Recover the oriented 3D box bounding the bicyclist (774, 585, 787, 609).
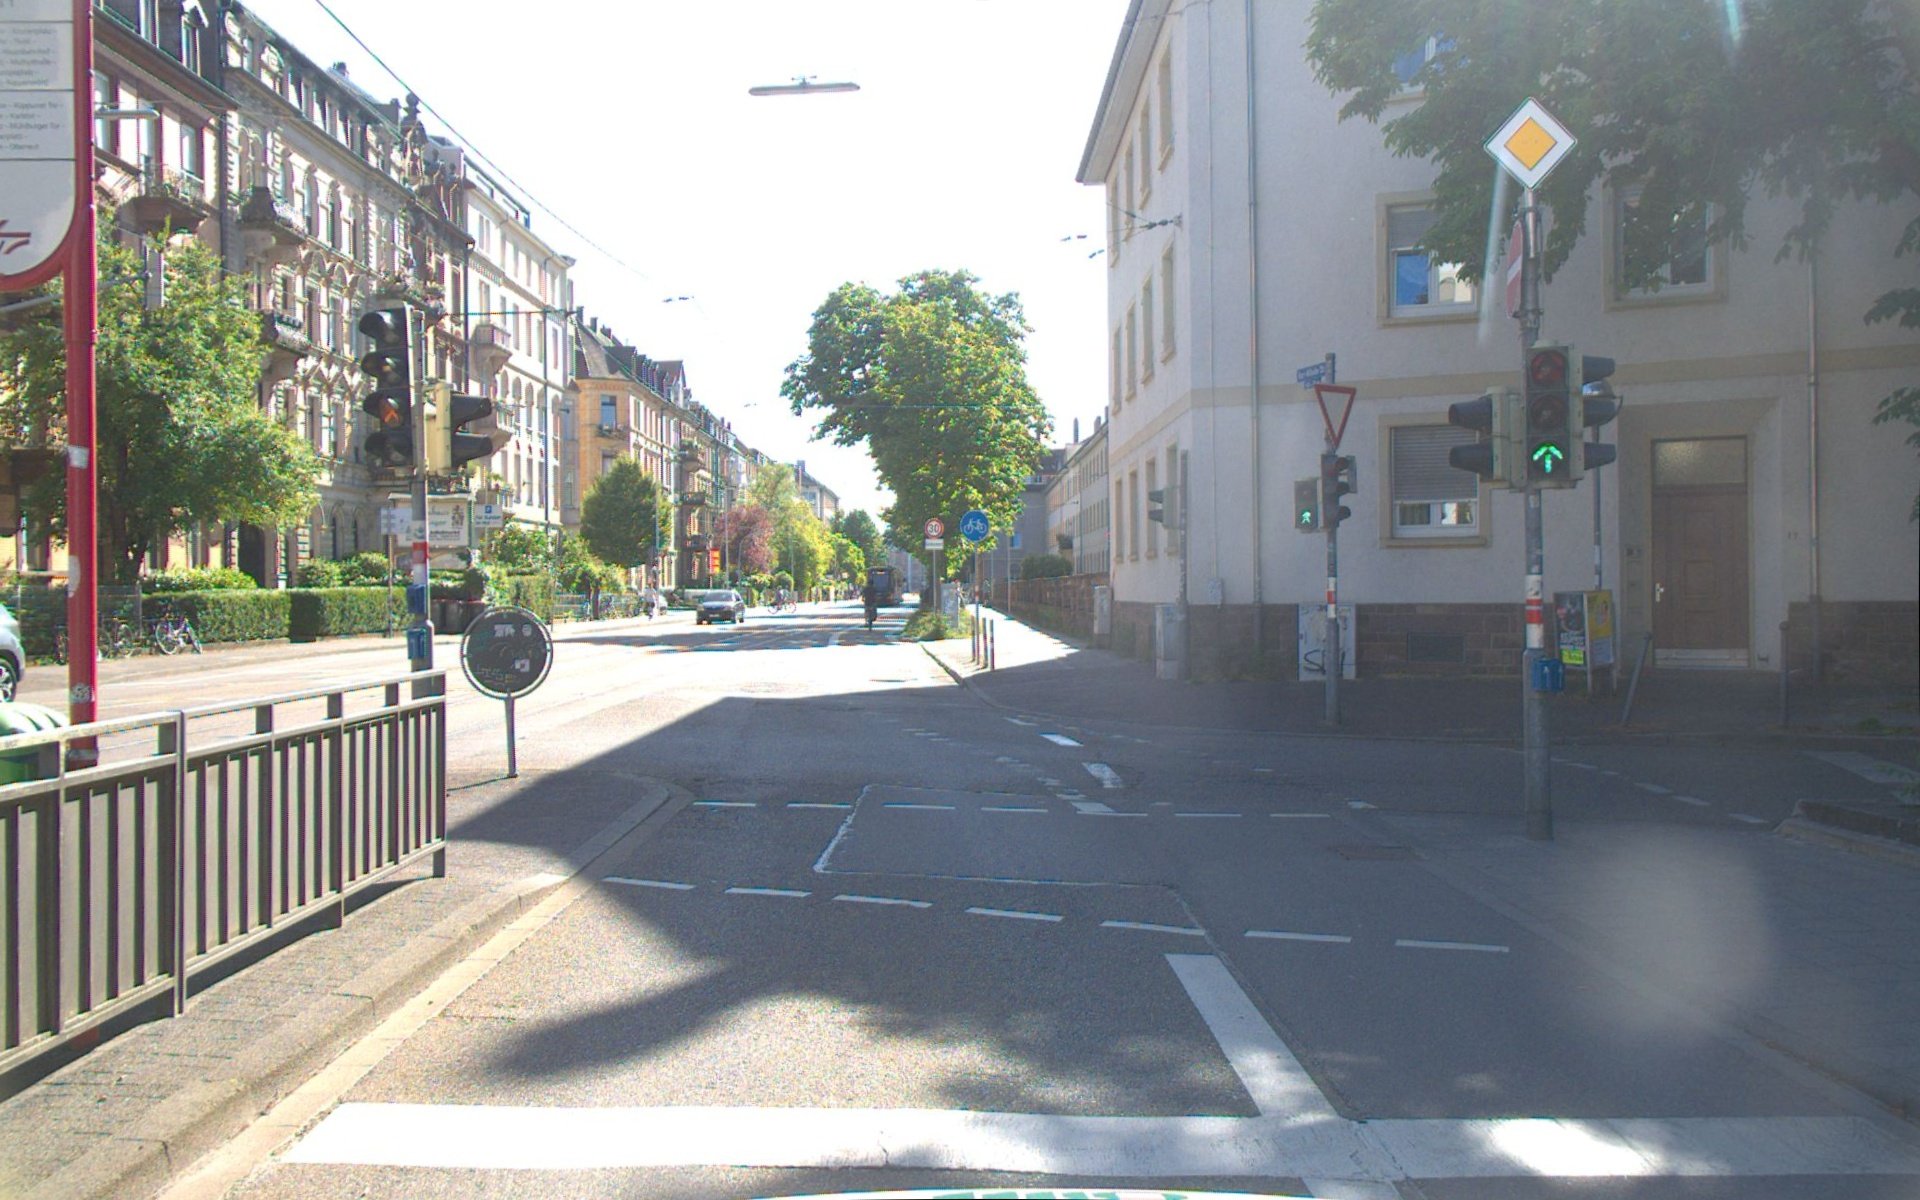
[{"bbox_3d":[-11.201,-0.188,103.120,0.605,1.494,0.633,1,0,-22],"label":"bicyclist"}]

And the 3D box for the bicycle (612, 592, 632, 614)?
[{"bbox_3d":[-16.812,0.145,82.280,0.556,1.051,1.754,4,0,-25],"label":"bicycle"}]

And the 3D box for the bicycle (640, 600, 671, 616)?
[{"bbox_3d":[-18.101,0.504,98.391,1.769,0.930,0.613,1,-2,-37],"label":"bicycle"}]

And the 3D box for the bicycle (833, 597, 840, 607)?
[{"bbox_3d":[-14.229,0.265,190.786,0.677,1.132,1.718,-2,0,0],"label":"bicycle"}]

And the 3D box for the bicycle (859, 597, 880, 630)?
[{"bbox_3d":[-3.215,0.479,58.868,0.677,1.132,1.718,1,0,0],"label":"bicycle"}]

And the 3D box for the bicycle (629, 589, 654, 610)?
[{"bbox_3d":[-16.259,-0.029,84.390,0.559,1.051,1.745,0,2,-37],"label":"bicycle"}]

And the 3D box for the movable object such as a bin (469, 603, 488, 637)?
[{"bbox_3d":[-16.172,0.663,55.553,0.469,1.105,0.541,1,0,1],"label":"movable object such as a bin"}]

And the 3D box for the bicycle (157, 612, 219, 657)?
[{"bbox_3d":[-17.211,0.764,36.919,0.334,0.942,1.944,1,0,4],"label":"bicycle"}]

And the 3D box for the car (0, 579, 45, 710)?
[{"bbox_3d":[-12.948,0.595,19.569,1.859,1.646,4.264,-2,0,-1],"label":"car"}]

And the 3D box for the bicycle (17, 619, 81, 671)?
[{"bbox_3d":[-17.618,0.856,32.000,0.334,0.942,1.453,1,0,4],"label":"bicycle"}]

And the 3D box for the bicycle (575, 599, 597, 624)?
[{"bbox_3d":[-16.514,0.489,72.997,0.551,1.051,1.768,1,1,0],"label":"bicycle"}]

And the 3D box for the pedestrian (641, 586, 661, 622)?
[{"bbox_3d":[-15.305,0.209,81.986,0.812,1.754,1.082,1,-1,-2],"label":"pedestrian"}]

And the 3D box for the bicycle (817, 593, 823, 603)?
[{"bbox_3d":[-13.912,-0.168,164.453,0.451,0.942,2.202,-2,0,0],"label":"bicycle"}]

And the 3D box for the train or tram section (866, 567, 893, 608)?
[{"bbox_3d":[-7.151,-1.117,147.671,2.110,3.491,6.610,1,0,-1],"label":"train or tram section"}]

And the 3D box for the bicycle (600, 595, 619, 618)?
[{"bbox_3d":[-16.345,0.310,77.139,0.551,1.051,1.767,1,1,-1],"label":"bicycle"}]

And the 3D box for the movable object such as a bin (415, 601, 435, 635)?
[{"bbox_3d":[-17.737,0.580,54.809,0.469,1.105,0.541,1,0,1],"label":"movable object such as a bin"}]

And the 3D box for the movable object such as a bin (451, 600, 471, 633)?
[{"bbox_3d":[-16.793,0.563,55.662,0.469,1.105,0.541,1,0,1],"label":"movable object such as a bin"}]

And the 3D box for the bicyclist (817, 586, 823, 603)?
[{"bbox_3d":[-13.926,-0.534,164.401,0.455,1.647,0.744,-3,0,-1],"label":"bicyclist"}]

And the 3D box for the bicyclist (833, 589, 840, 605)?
[{"bbox_3d":[-14.220,-0.314,190.659,0.647,1.833,0.616,-2,0,-1],"label":"bicyclist"}]

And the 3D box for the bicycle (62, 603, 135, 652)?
[{"bbox_3d":[-17.639,0.550,33.905,0.334,0.942,1.944,1,0,4],"label":"bicycle"}]

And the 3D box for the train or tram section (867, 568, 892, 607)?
[{"bbox_3d":[-7.473,-1.170,154.321,2.110,3.491,6.610,1,0,-1],"label":"train or tram section"}]

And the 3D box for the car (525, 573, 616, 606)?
[{"bbox_3d":[-20.989,-0.566,89.199,4.353,1.672,1.967,1,0,2],"label":"car"}]

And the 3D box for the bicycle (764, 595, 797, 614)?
[{"bbox_3d":[-11.198,0.289,103.128,1.885,1.132,0.689,1,0,-23],"label":"bicycle"}]

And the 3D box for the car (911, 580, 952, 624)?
[{"bbox_3d":[-1.233,0.047,70.871,1.708,1.797,4.477,1,0,-1],"label":"car"}]

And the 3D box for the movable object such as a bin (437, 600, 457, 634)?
[{"bbox_3d":[-17.001,0.568,54.838,0.469,1.105,0.541,1,0,1],"label":"movable object such as a bin"}]

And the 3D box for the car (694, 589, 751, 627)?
[{"bbox_3d":[-10.535,0.335,73.603,1.794,1.544,4.966,2,0,0],"label":"car"}]

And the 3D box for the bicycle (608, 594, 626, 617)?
[{"bbox_3d":[-16.523,0.254,79.731,0.551,1.051,1.767,1,1,-1],"label":"bicycle"}]

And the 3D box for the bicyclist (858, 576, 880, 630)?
[{"bbox_3d":[-3.251,0.108,58.975,0.712,1.880,0.836,1,0,-1],"label":"bicyclist"}]
